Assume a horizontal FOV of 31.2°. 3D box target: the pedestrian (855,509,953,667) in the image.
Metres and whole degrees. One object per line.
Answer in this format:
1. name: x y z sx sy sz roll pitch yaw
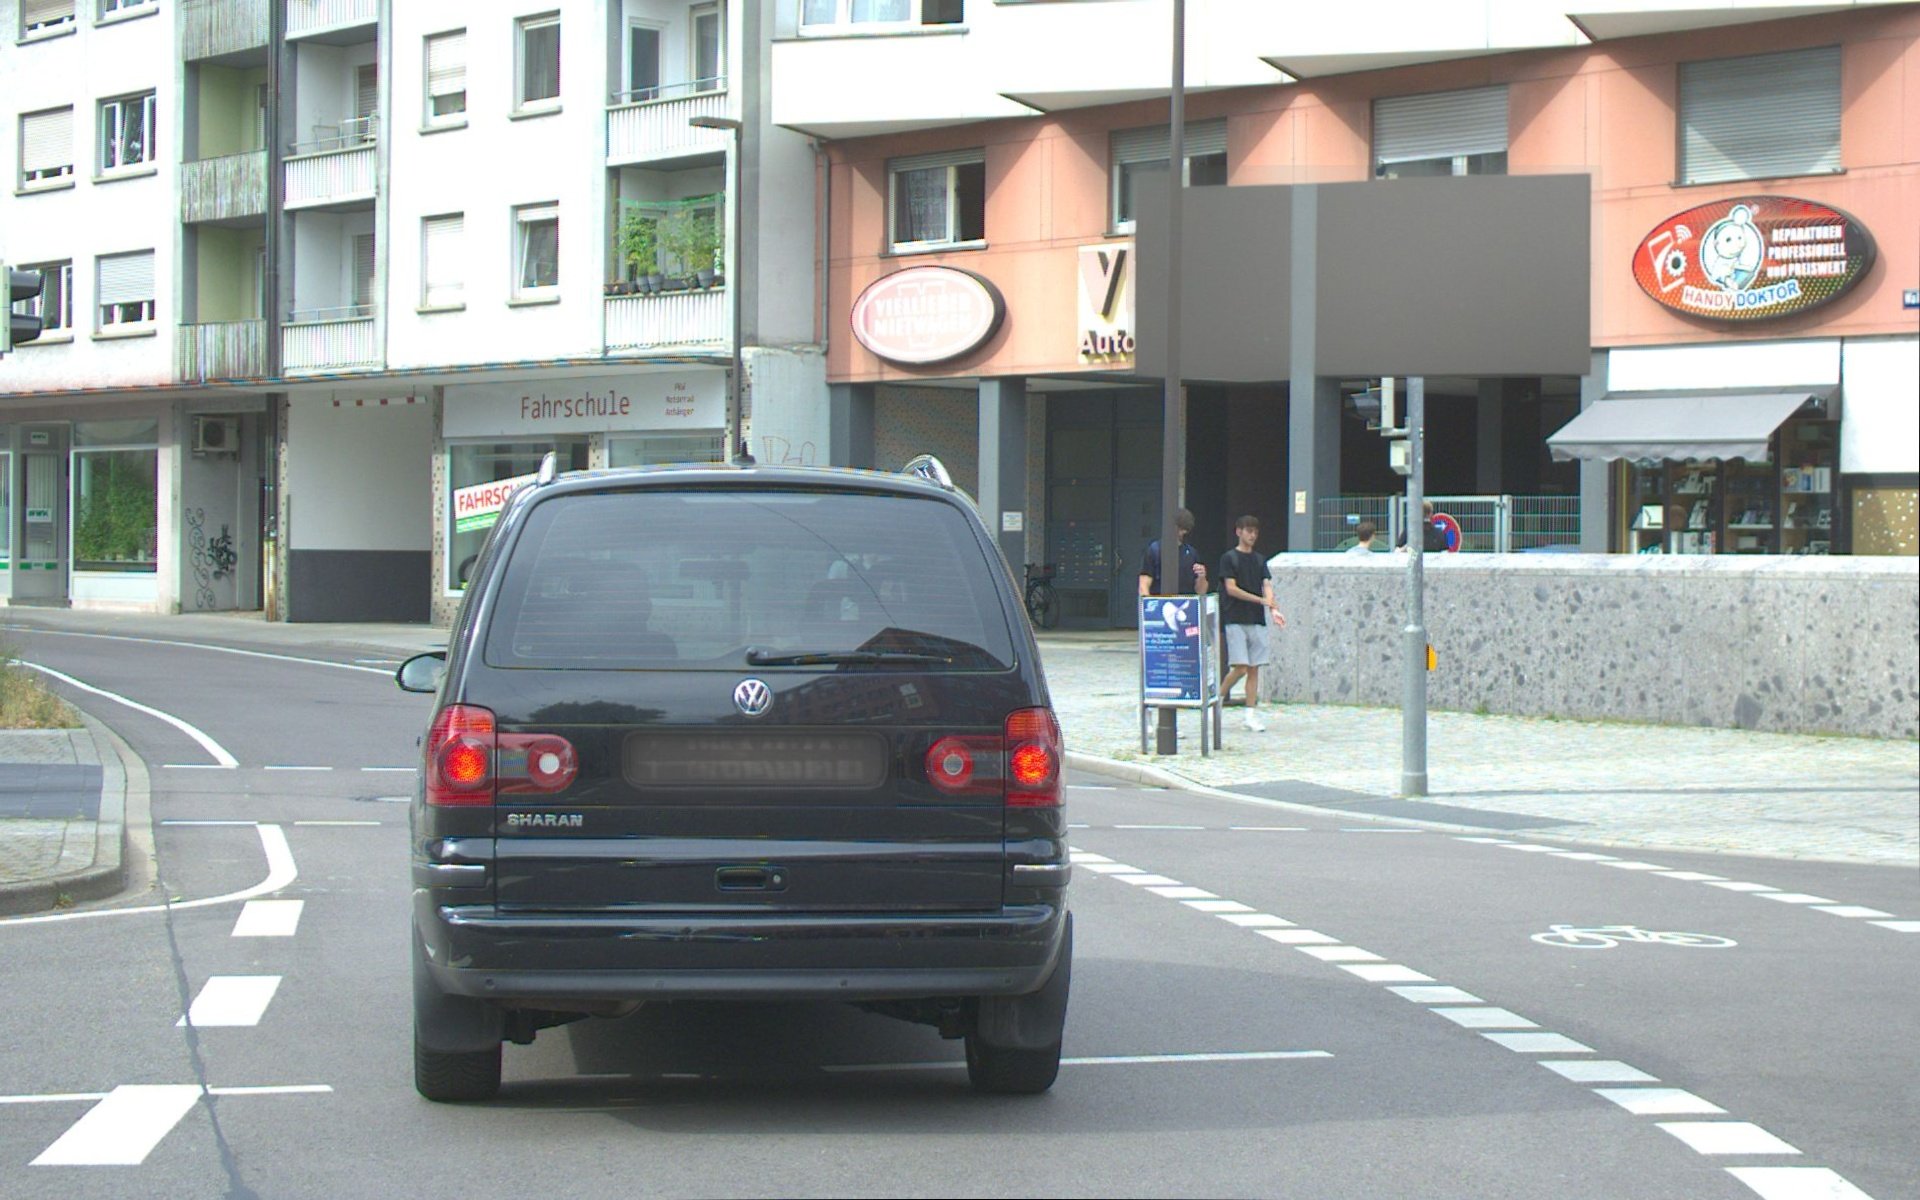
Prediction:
1. pedestrian: -0.669 -0.153 40.999 0.656 1.846 0.971 -3 3 -38

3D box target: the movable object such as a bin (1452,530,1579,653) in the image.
1. movable object such as a bin: 6.955 -0.111 43.053 1.002 1.510 1.167 0 1 -42

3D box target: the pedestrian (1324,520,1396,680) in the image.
1. pedestrian: 4.261 -0.010 36.629 0.472 1.667 0.590 -3 3 -40

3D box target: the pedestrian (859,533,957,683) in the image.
1. pedestrian: -0.598 0.084 39.310 0.604 1.663 0.943 -4 4 -43

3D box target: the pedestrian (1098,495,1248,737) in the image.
1. pedestrian: 1.781 0.115 28.767 1.013 1.964 0.719 2 4 43

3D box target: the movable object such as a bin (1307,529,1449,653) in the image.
1. movable object such as a bin: 5.050 -0.119 41.561 1.146 1.455 1.223 0 1 -42

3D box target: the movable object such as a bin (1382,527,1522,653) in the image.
1. movable object such as a bin: 6.047 -0.128 42.263 1.194 1.510 1.196 0 1 -42

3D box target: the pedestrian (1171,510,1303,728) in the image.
1. pedestrian: 2.351 0.144 29.166 0.886 1.793 0.675 2 4 43

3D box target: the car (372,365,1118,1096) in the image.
1. car: -0.778 0.341 10.256 1.812 1.760 3.738 1 -1 -8

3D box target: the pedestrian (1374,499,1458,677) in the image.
1. pedestrian: 4.945 -0.139 37.261 0.672 1.896 0.590 -3 3 -40

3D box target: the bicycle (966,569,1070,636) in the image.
1. bicycle: 0.826 0.031 49.145 0.452 0.893 1.677 0 2 -42
